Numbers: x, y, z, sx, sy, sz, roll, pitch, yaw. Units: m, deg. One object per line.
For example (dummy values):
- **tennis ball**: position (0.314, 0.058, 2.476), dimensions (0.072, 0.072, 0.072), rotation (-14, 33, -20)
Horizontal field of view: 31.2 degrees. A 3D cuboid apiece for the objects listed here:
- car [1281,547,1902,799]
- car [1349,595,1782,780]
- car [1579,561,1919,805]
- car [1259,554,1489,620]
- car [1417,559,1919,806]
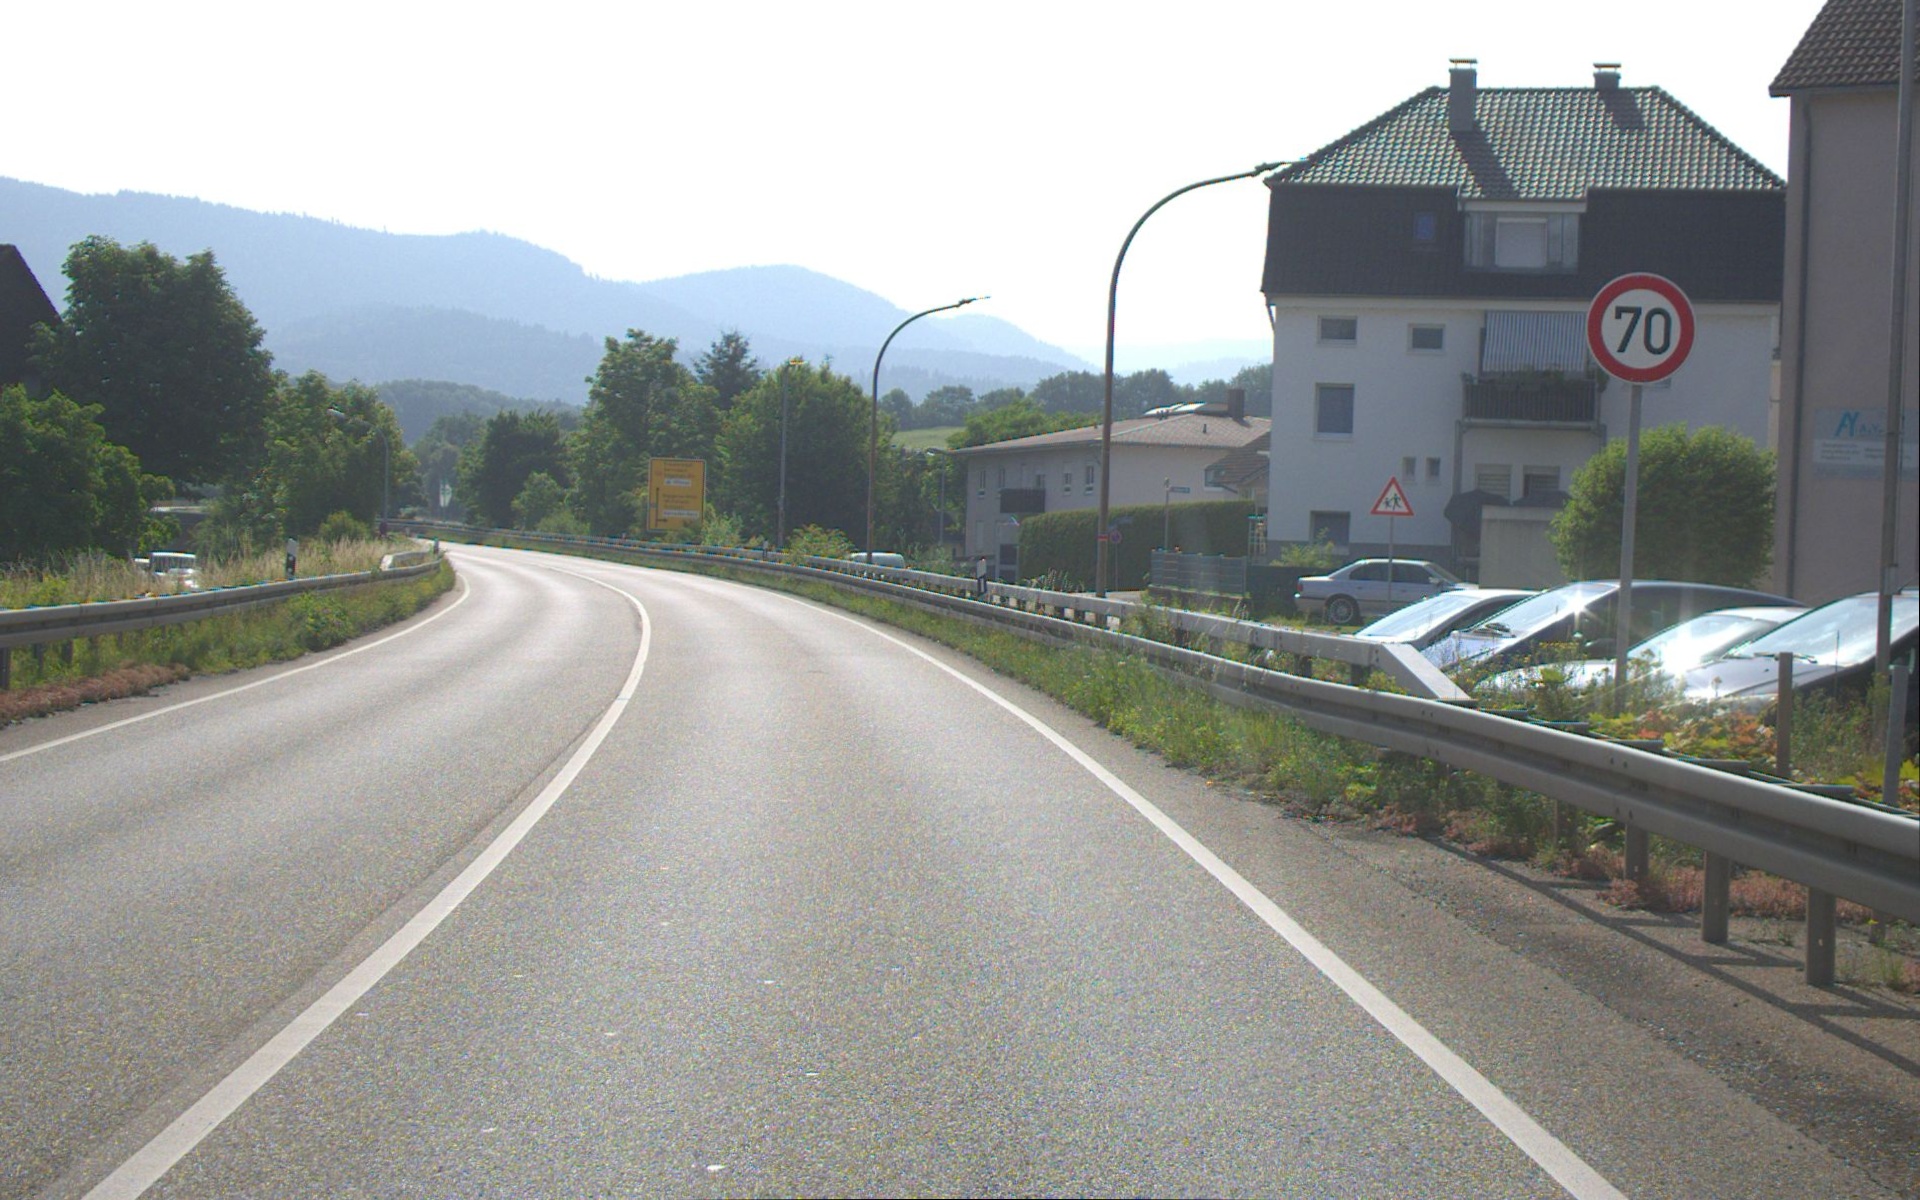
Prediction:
- **car**: position (4.886, 0.556, 26.789), dimensions (4.232, 1.567, 1.919), rotation (5, -1, -15)
- **car**: position (5.203, 0.746, 29.668), dimensions (3.262, 1.372, 1.550), rotation (4, -1, -14)
- **car**: position (6.199, 0.516, 21.954), dimensions (4.056, 1.447, 1.729), rotation (1, 0, -18)
- **car**: position (8.874, -0.294, 73.749), dimensions (4.601, 1.343, 1.753), rotation (1, 2, 22)
- **car**: position (5.467, 0.600, 24.250), dimensions (3.986, 1.444, 1.765), rotation (5, 0, -12)
